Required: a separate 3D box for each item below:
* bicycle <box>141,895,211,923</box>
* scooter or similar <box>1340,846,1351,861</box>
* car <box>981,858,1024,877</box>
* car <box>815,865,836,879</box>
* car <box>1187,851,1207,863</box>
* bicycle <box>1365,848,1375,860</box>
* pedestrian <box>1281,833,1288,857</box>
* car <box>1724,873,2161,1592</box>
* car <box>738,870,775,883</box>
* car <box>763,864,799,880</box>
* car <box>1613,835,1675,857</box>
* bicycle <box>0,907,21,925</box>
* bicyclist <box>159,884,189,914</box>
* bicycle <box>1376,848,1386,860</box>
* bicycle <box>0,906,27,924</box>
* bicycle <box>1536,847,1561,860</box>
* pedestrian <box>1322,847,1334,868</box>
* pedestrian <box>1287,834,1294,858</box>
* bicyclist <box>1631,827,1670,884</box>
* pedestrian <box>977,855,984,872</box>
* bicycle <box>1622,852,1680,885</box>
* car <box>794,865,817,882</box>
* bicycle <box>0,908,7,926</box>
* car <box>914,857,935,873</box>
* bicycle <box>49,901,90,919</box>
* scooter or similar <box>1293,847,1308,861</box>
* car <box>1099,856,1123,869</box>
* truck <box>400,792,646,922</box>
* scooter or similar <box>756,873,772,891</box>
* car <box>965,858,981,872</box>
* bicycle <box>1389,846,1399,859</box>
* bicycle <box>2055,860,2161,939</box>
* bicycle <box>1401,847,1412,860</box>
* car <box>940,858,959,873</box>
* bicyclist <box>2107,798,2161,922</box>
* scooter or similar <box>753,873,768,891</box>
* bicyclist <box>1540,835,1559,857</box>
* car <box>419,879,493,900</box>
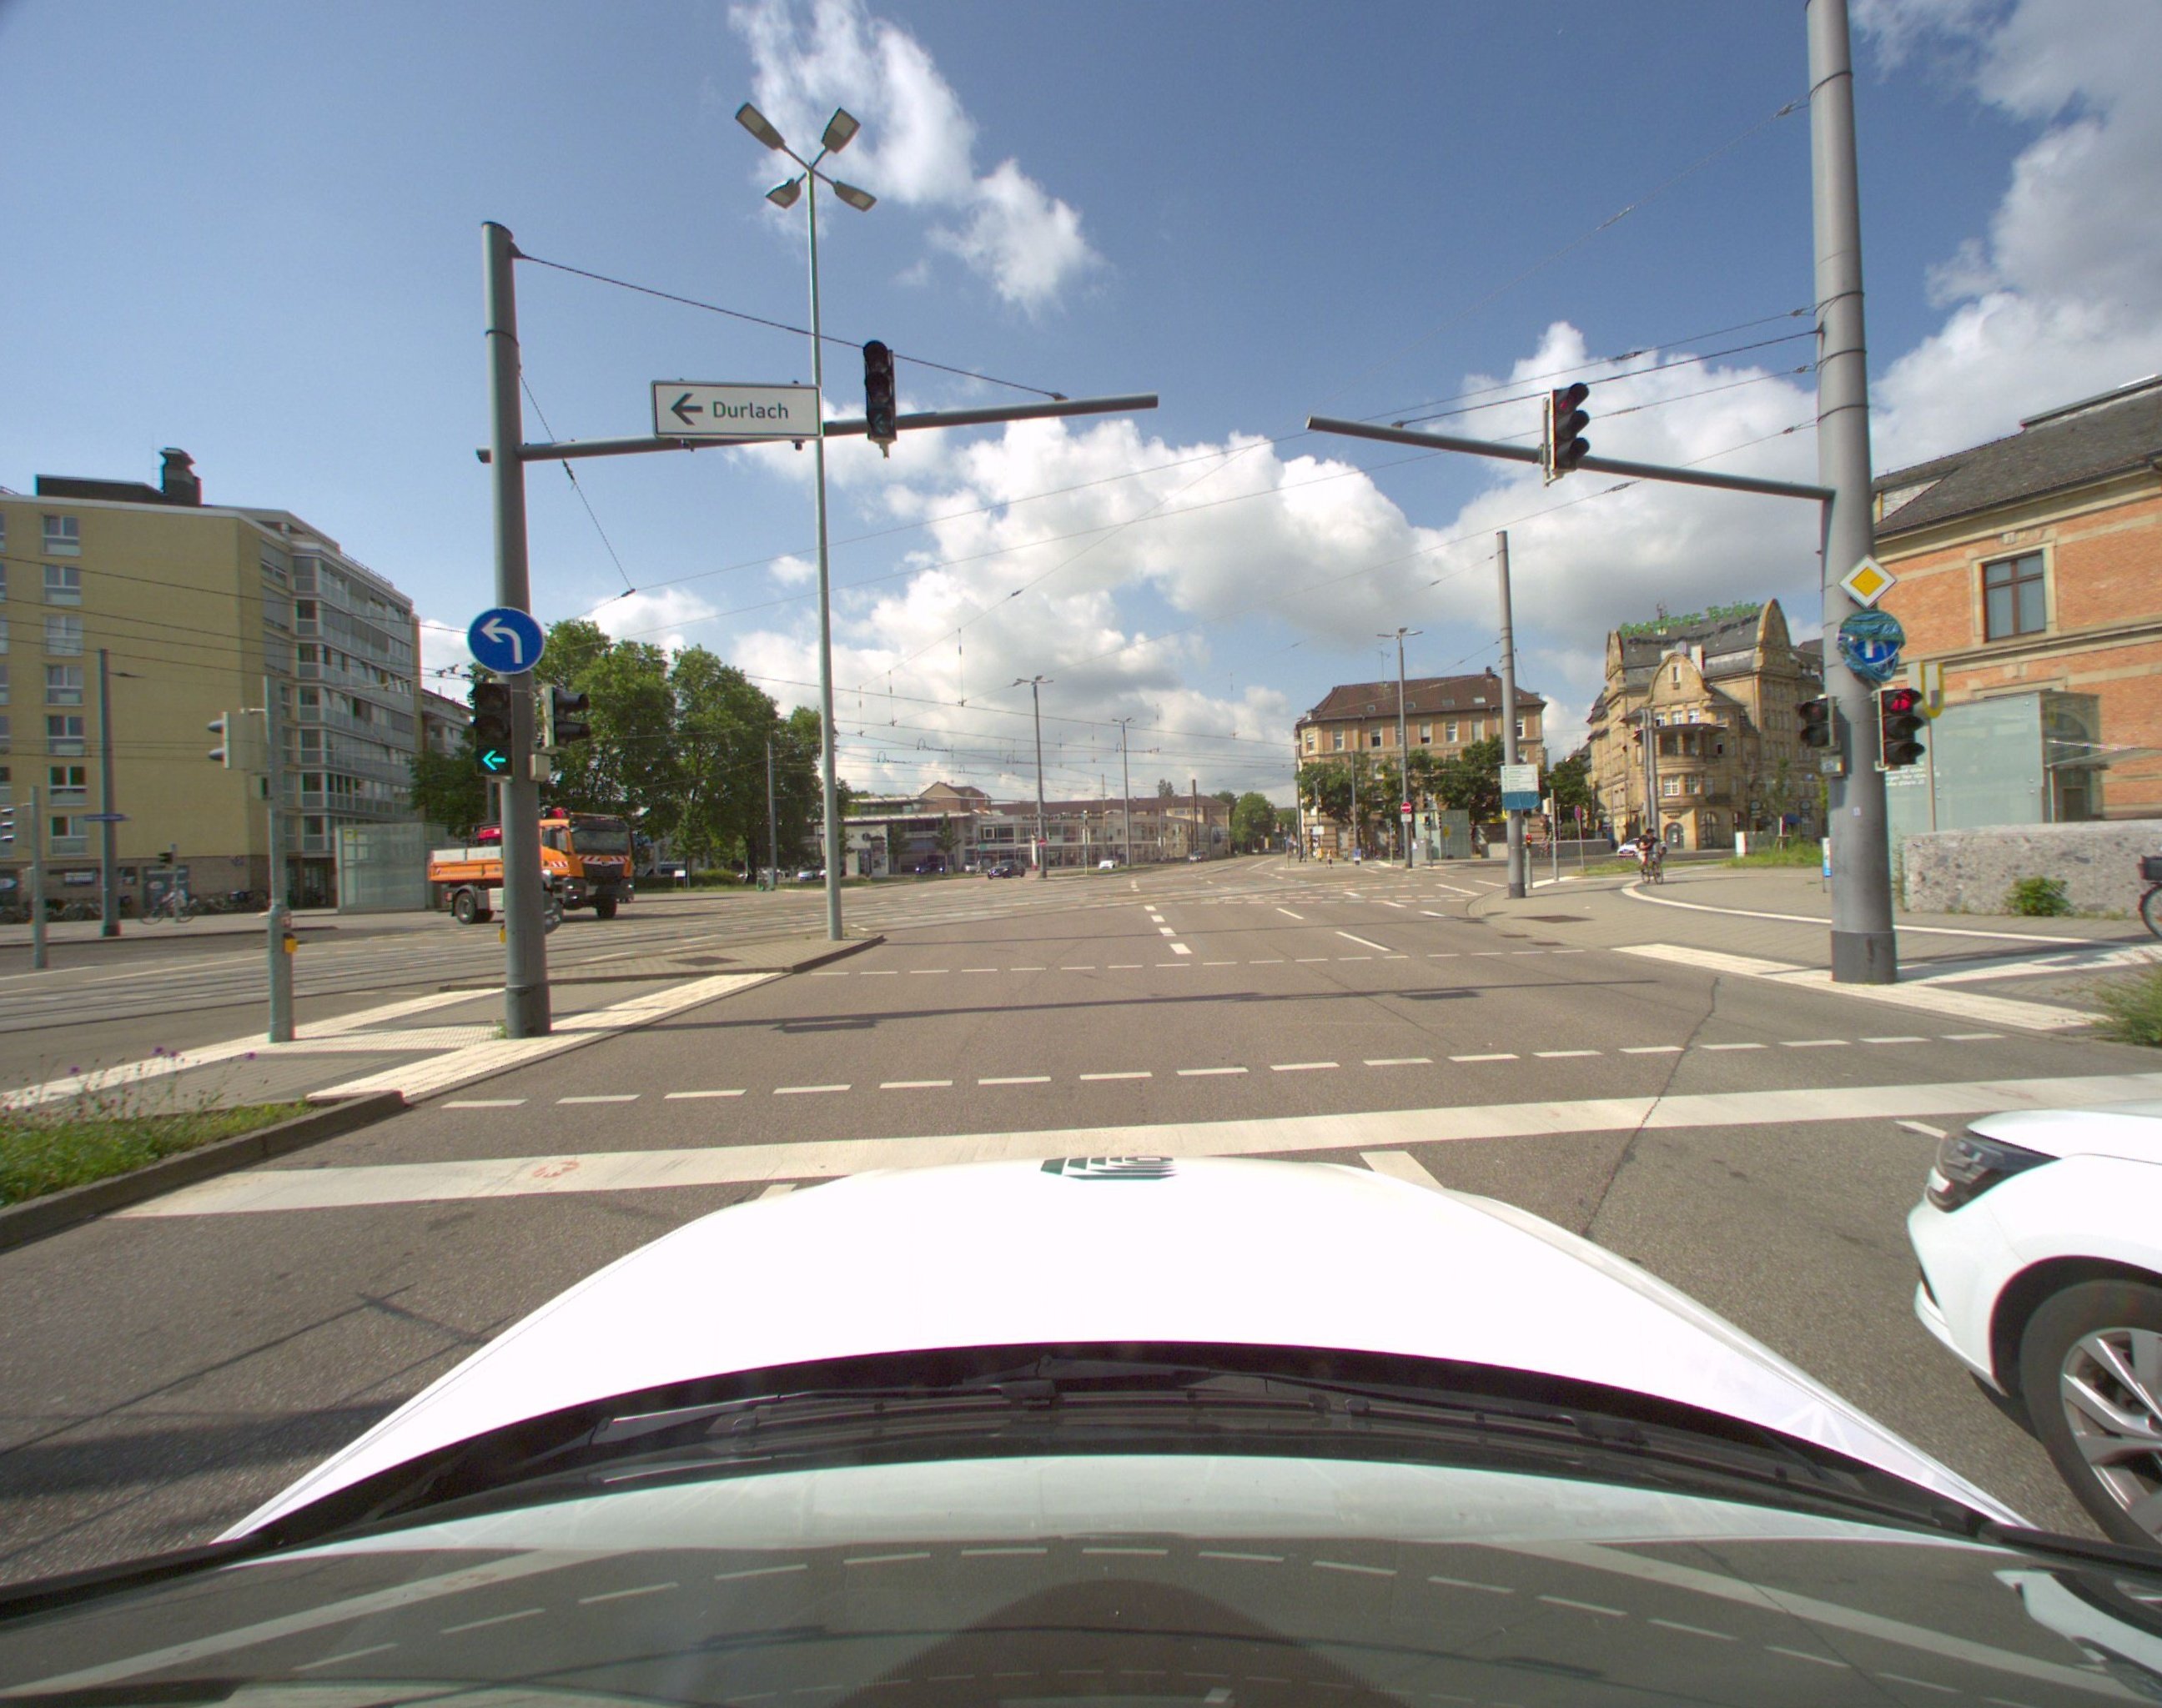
[{"bbox_3d":[-41.017,2.486,36.951,0.539,1.106,2.106,-2,0,11],"label":"bicycle"},{"bbox_3d":[25.929,-0.043,79.955,0.871,1.482,2.022,-2,0,15],"label":"scooter or similar"},{"bbox_3d":[-6.178,1.053,64.687,1.849,1.376,3.959,-2,0,19],"label":"car"},{"bbox_3d":[-31.757,2.217,101.365,1.784,1.682,3.988,-2,0,-8],"label":"car"},{"bbox_3d":[16.342,0.360,114.522,1.976,1.574,3.756,-2,0,21],"label":"car"},{"bbox_3d":[28.419,0.018,80.069,0.753,1.165,2.697,-2,0,17],"label":"bicycle"},{"bbox_3d":[26.423,-1.119,105.863,0.660,3.121,0.893,-1,-1,24],"label":"pedestrian"},{"bbox_3d":[3.050,0.743,0.409,1.752,1.429,4.673,0,-1,0],"label":"car"},{"bbox_3d":[-37.943,2.609,95.350,3.658,1.488,1.673,0,0,0],"label":"car"},{"bbox_3d":[-39.724,2.359,107.886,3.968,2.014,2.003,-1,-1,5],"label":"car"},{"bbox_3d":[43.104,-0.607,62.341,4.516,1.596,1.939,0,-1,-27],"label":"car"},{"bbox_3d":[-56.876,3.275,42.814,1.464,0.922,0.291,-1,-1,-19],"label":"bicycle"},{"bbox_3d":[-41.049,2.018,36.874,0.391,1.336,0.786,-1,-1,9],"label":"bicyclist"},{"bbox_3d":[29.333,-0.018,79.637,0.753,1.165,2.697,-1,0,17],"label":"bicycle"},{"bbox_3d":[-56.972,3.252,43.117,1.464,0.922,0.291,-1,-1,-19],"label":"bicycle"},{"bbox_3d":[37.138,-0.019,64.692,1.781,0.956,0.840,-3,-2,-23],"label":"bicycle"},{"bbox_3d":[18.222,0.224,59.996,0.733,1.516,0.548,-2,-1,23],"label":"pedestrian"},{"bbox_3d":[27.174,-1.075,105.534,0.718,3.076,0.893,-1,-1,24],"label":"pedestrian"},{"bbox_3d":[17.352,0.041,24.827,0.573,1.672,0.940,-3,-1,13],"label":"bicyclist"},{"bbox_3d":[-12.200,1.150,98.903,0.868,2.013,0.701,-2,0,-8],"label":"pedestrian"},{"bbox_3d":[17.321,0.432,24.796,0.753,0.875,1.816,-5,0,13],"label":"bicycle"},{"bbox_3d":[-34.116,2.394,101.065,1.992,2.014,3.988,1,-1,-8],"label":"car"},{"bbox_3d":[-56.942,3.290,42.317,1.464,0.922,0.291,-1,-1,-19],"label":"bicycle"},{"bbox_3d":[-19.320,1.414,100.688,1.990,1.838,3.994,-3,-1,-4],"label":"car"},{"bbox_3d":[-54.363,2.995,43.762,1.462,0.922,0.291,0,-1,-17],"label":"bicycle"},{"bbox_3d":[22.074,-0.020,81.938,1.169,1.386,2.811,-1,-1,9],"label":"scooter or similar"},{"bbox_3d":[3.406,1.012,92.527,1.671,1.470,3.675,-1,-1,21],"label":"car"},{"bbox_3d":[-19.088,0.172,27.838,7.976,4.009,2.851,-1,-1,21],"label":"truck"},{"bbox_3d":[-20.721,1.832,53.212,1.051,1.197,0.384,-1,-1,26],"label":"scooter or similar"},{"bbox_3d":[-13.579,1.354,102.056,1.928,1.683,3.987,0,-1,-9],"label":"car"},{"bbox_3d":[30.405,-0.139,79.193,0.753,1.166,2.697,-1,-1,18],"label":"bicycle"},{"bbox_3d":[12.981,0.539,9.449,0.649,0.897,2.276,-2,0,1],"label":"bicycle"},{"bbox_3d":[31.470,-0.073,78.859,0.753,1.165,2.697,-2,0,17],"label":"bicycle"},{"bbox_3d":[-16.153,1.424,100.187,1.991,1.725,3.992,0,-1,-6],"label":"car"},{"bbox_3d":[12.977,0.062,9.445,0.632,1.457,1.170,-2,0,1],"label":"bicyclist"},{"bbox_3d":[-20.723,1.812,52.644,1.051,1.197,0.384,-1,-2,37],"label":"scooter or similar"},{"bbox_3d":[37.135,-0.652,64.600,1.144,1.674,0.613,-2,-1,-9],"label":"bicyclist"},{"bbox_3d":[-47.721,2.721,62.263,4.093,1.514,1.798,0,-1,-18],"label":"car"}]
